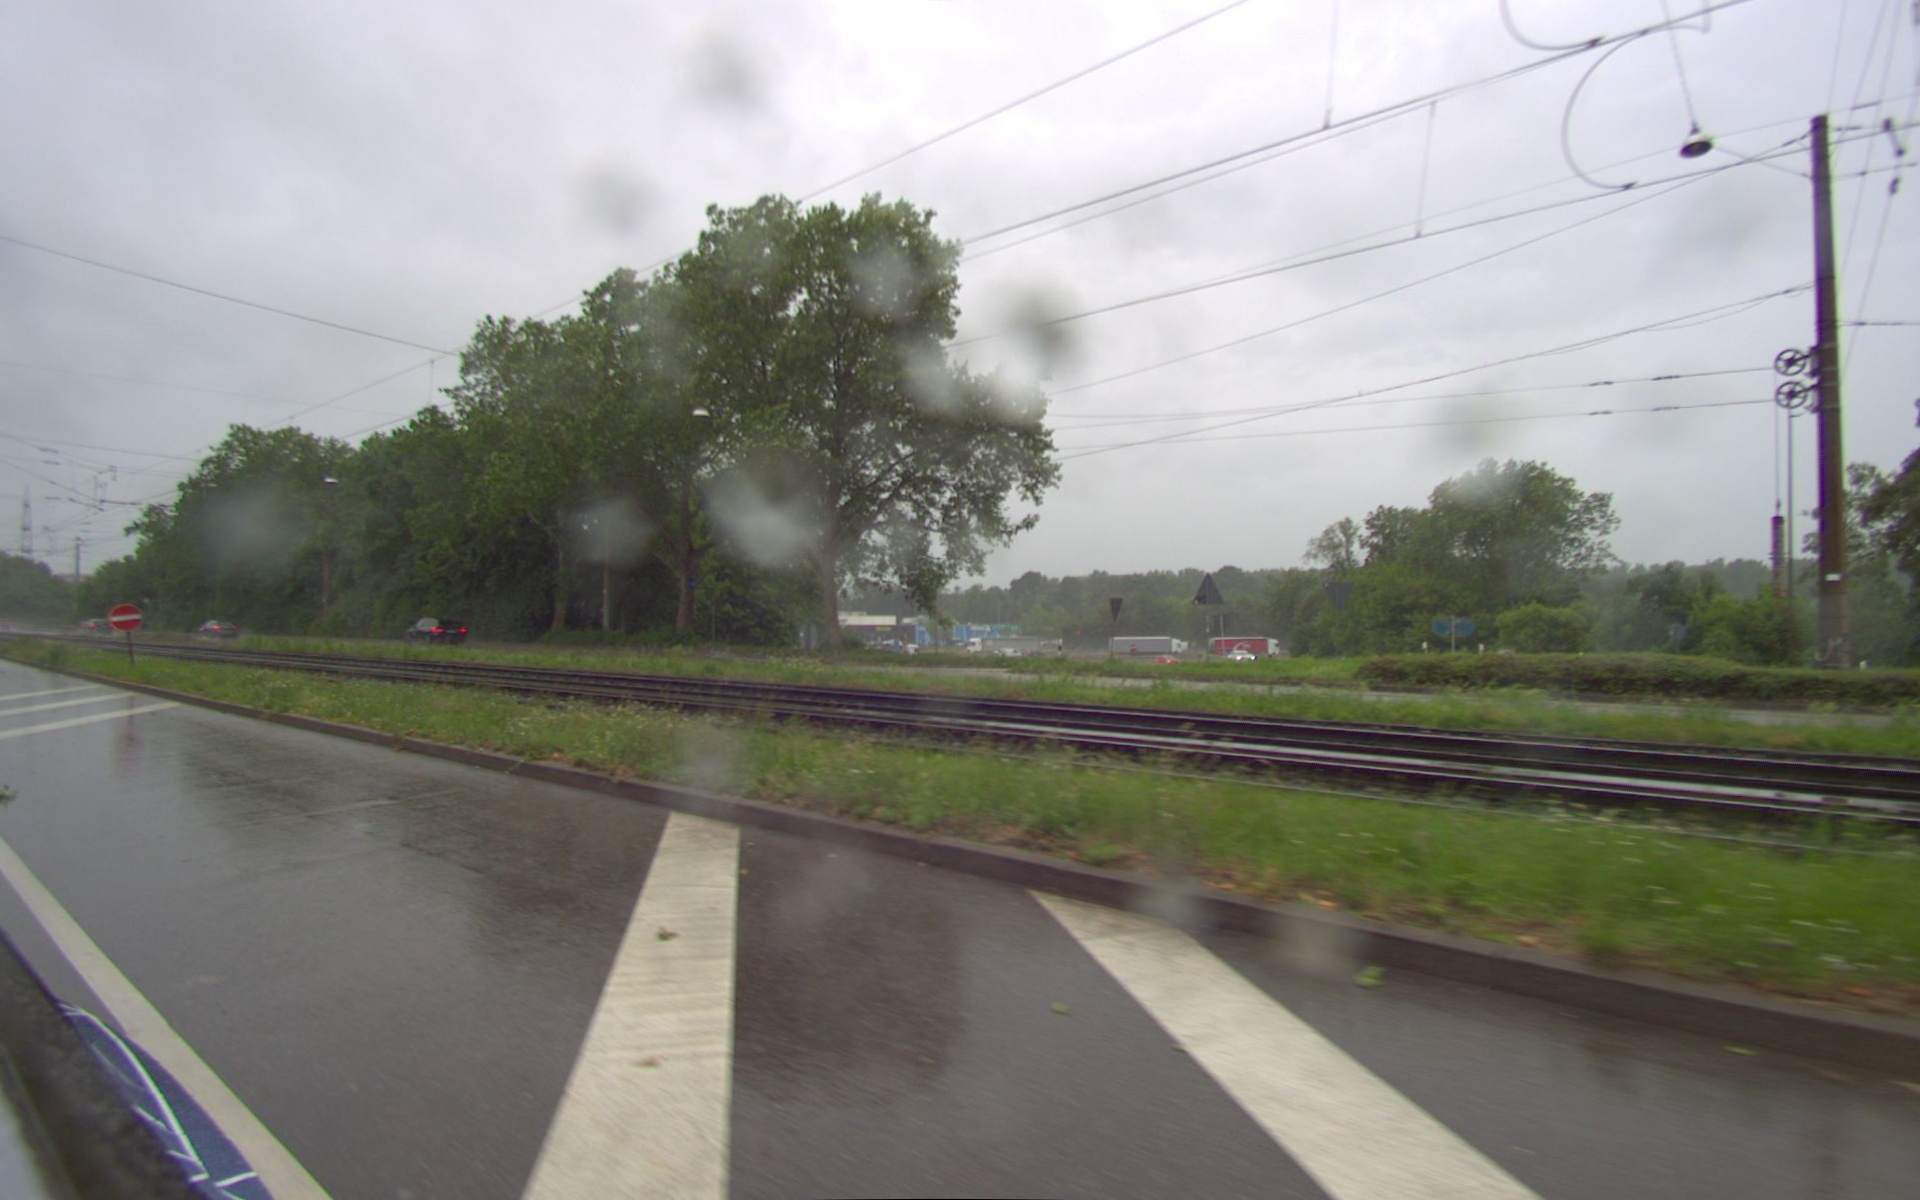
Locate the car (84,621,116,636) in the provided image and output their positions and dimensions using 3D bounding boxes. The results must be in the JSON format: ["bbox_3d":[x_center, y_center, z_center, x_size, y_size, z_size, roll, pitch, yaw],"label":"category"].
[{"bbox_3d":[-81.298,2.671,95.651,3.936,1.416,1.665,-1,-1,40],"label":"car"}]

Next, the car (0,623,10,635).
[{"bbox_3d":[-123.309,3.693,129.726,4.951,1.535,1.673,-1,-1,40],"label":"car"}]

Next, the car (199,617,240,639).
[{"bbox_3d":[-56.262,2.105,76.853,4.044,1.580,1.634,-1,-1,40],"label":"car"}]

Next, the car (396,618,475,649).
[{"bbox_3d":[-27.729,1.749,53.462,4.273,1.540,2.191,-1,-1,38],"label":"car"}]
